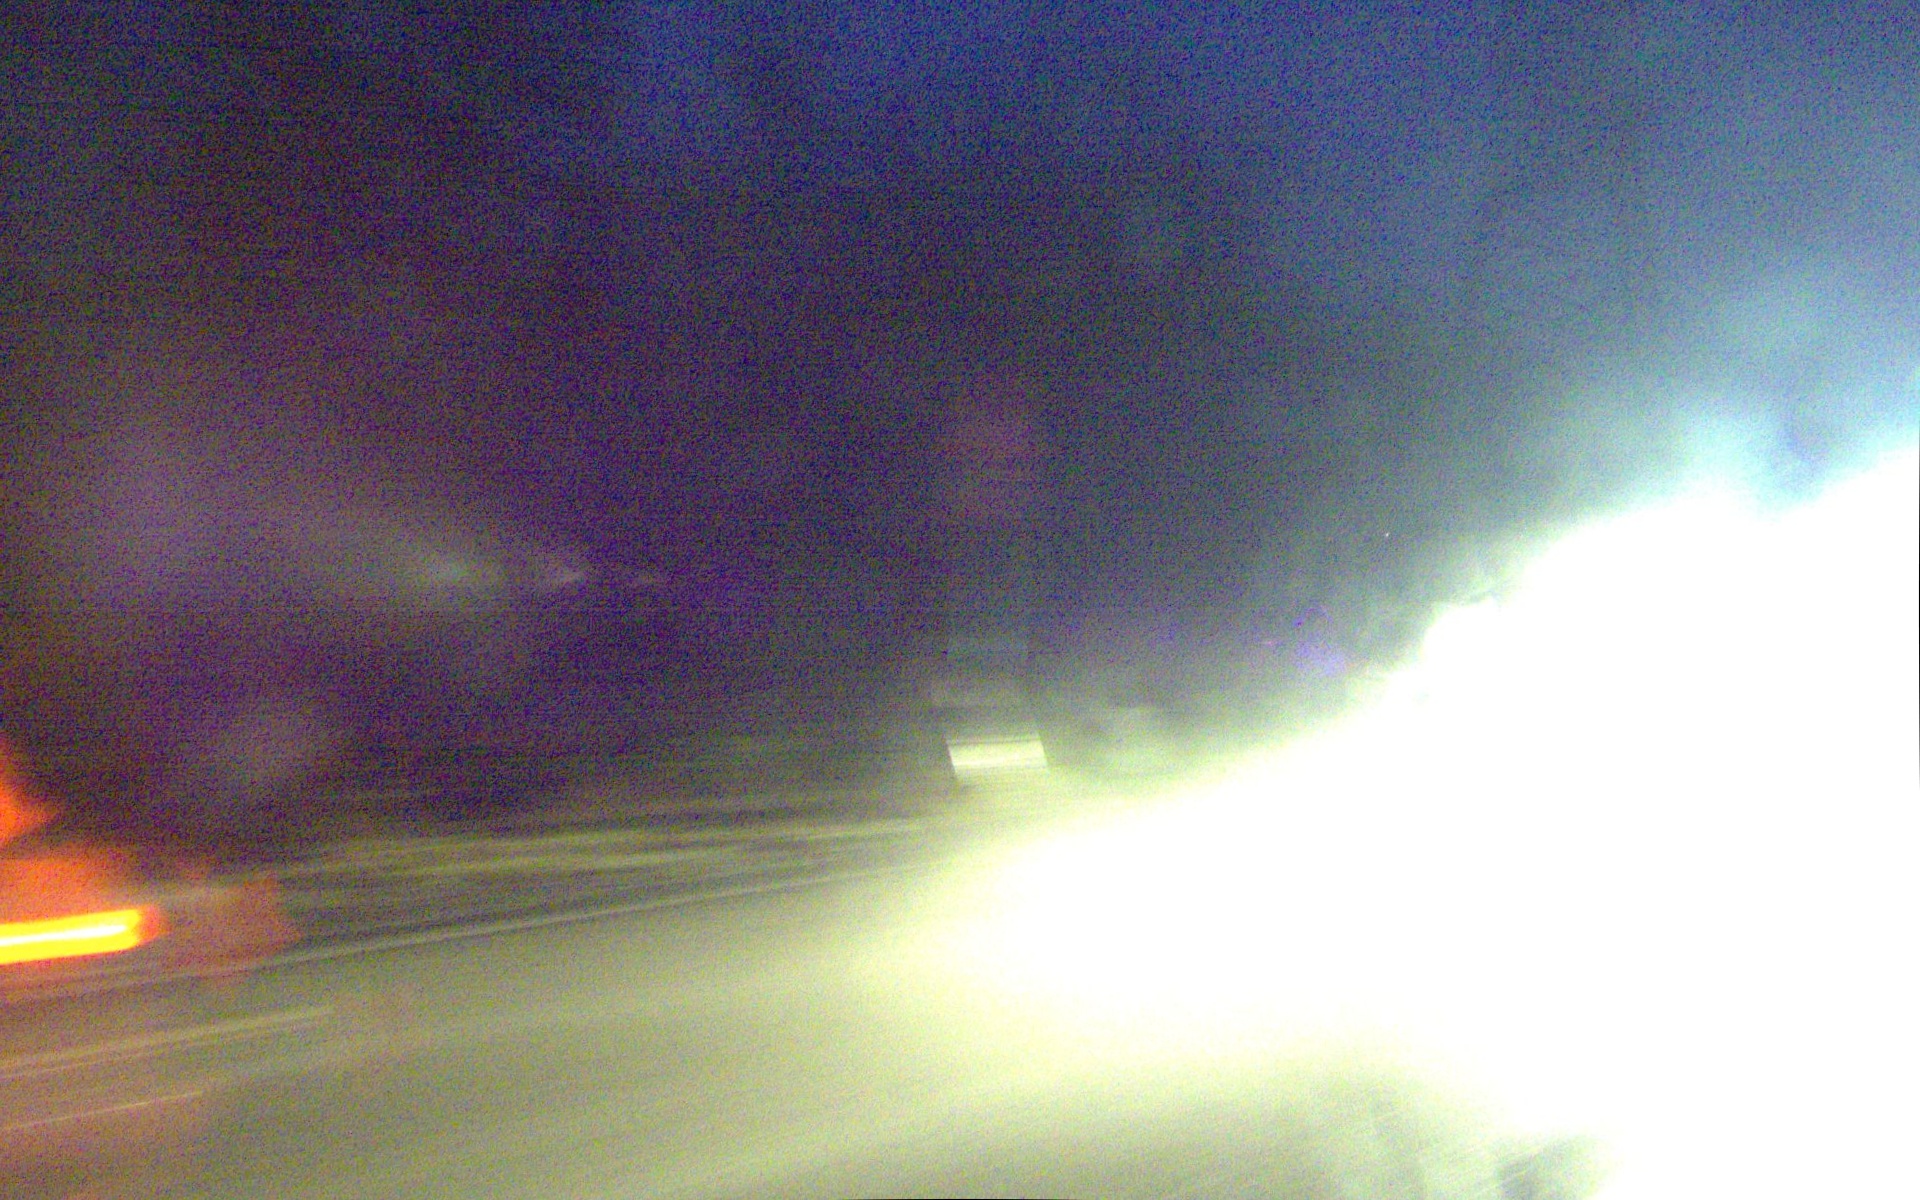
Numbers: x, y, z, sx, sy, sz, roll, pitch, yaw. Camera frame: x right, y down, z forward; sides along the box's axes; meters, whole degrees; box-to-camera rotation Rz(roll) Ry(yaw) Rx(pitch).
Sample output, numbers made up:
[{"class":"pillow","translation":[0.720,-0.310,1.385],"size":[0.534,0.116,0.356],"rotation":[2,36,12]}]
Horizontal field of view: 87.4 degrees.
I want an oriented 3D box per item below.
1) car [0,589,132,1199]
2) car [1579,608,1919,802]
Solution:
[{"class":"car","translation":[-3.927,0.634,1.292],"size":[4.187,1.407,1.761],"rotation":[2,0,-33]},{"class":"car","translation":[7.703,0.840,9.392],"size":[4.191,1.407,1.759],"rotation":[2,0,-35]}]
